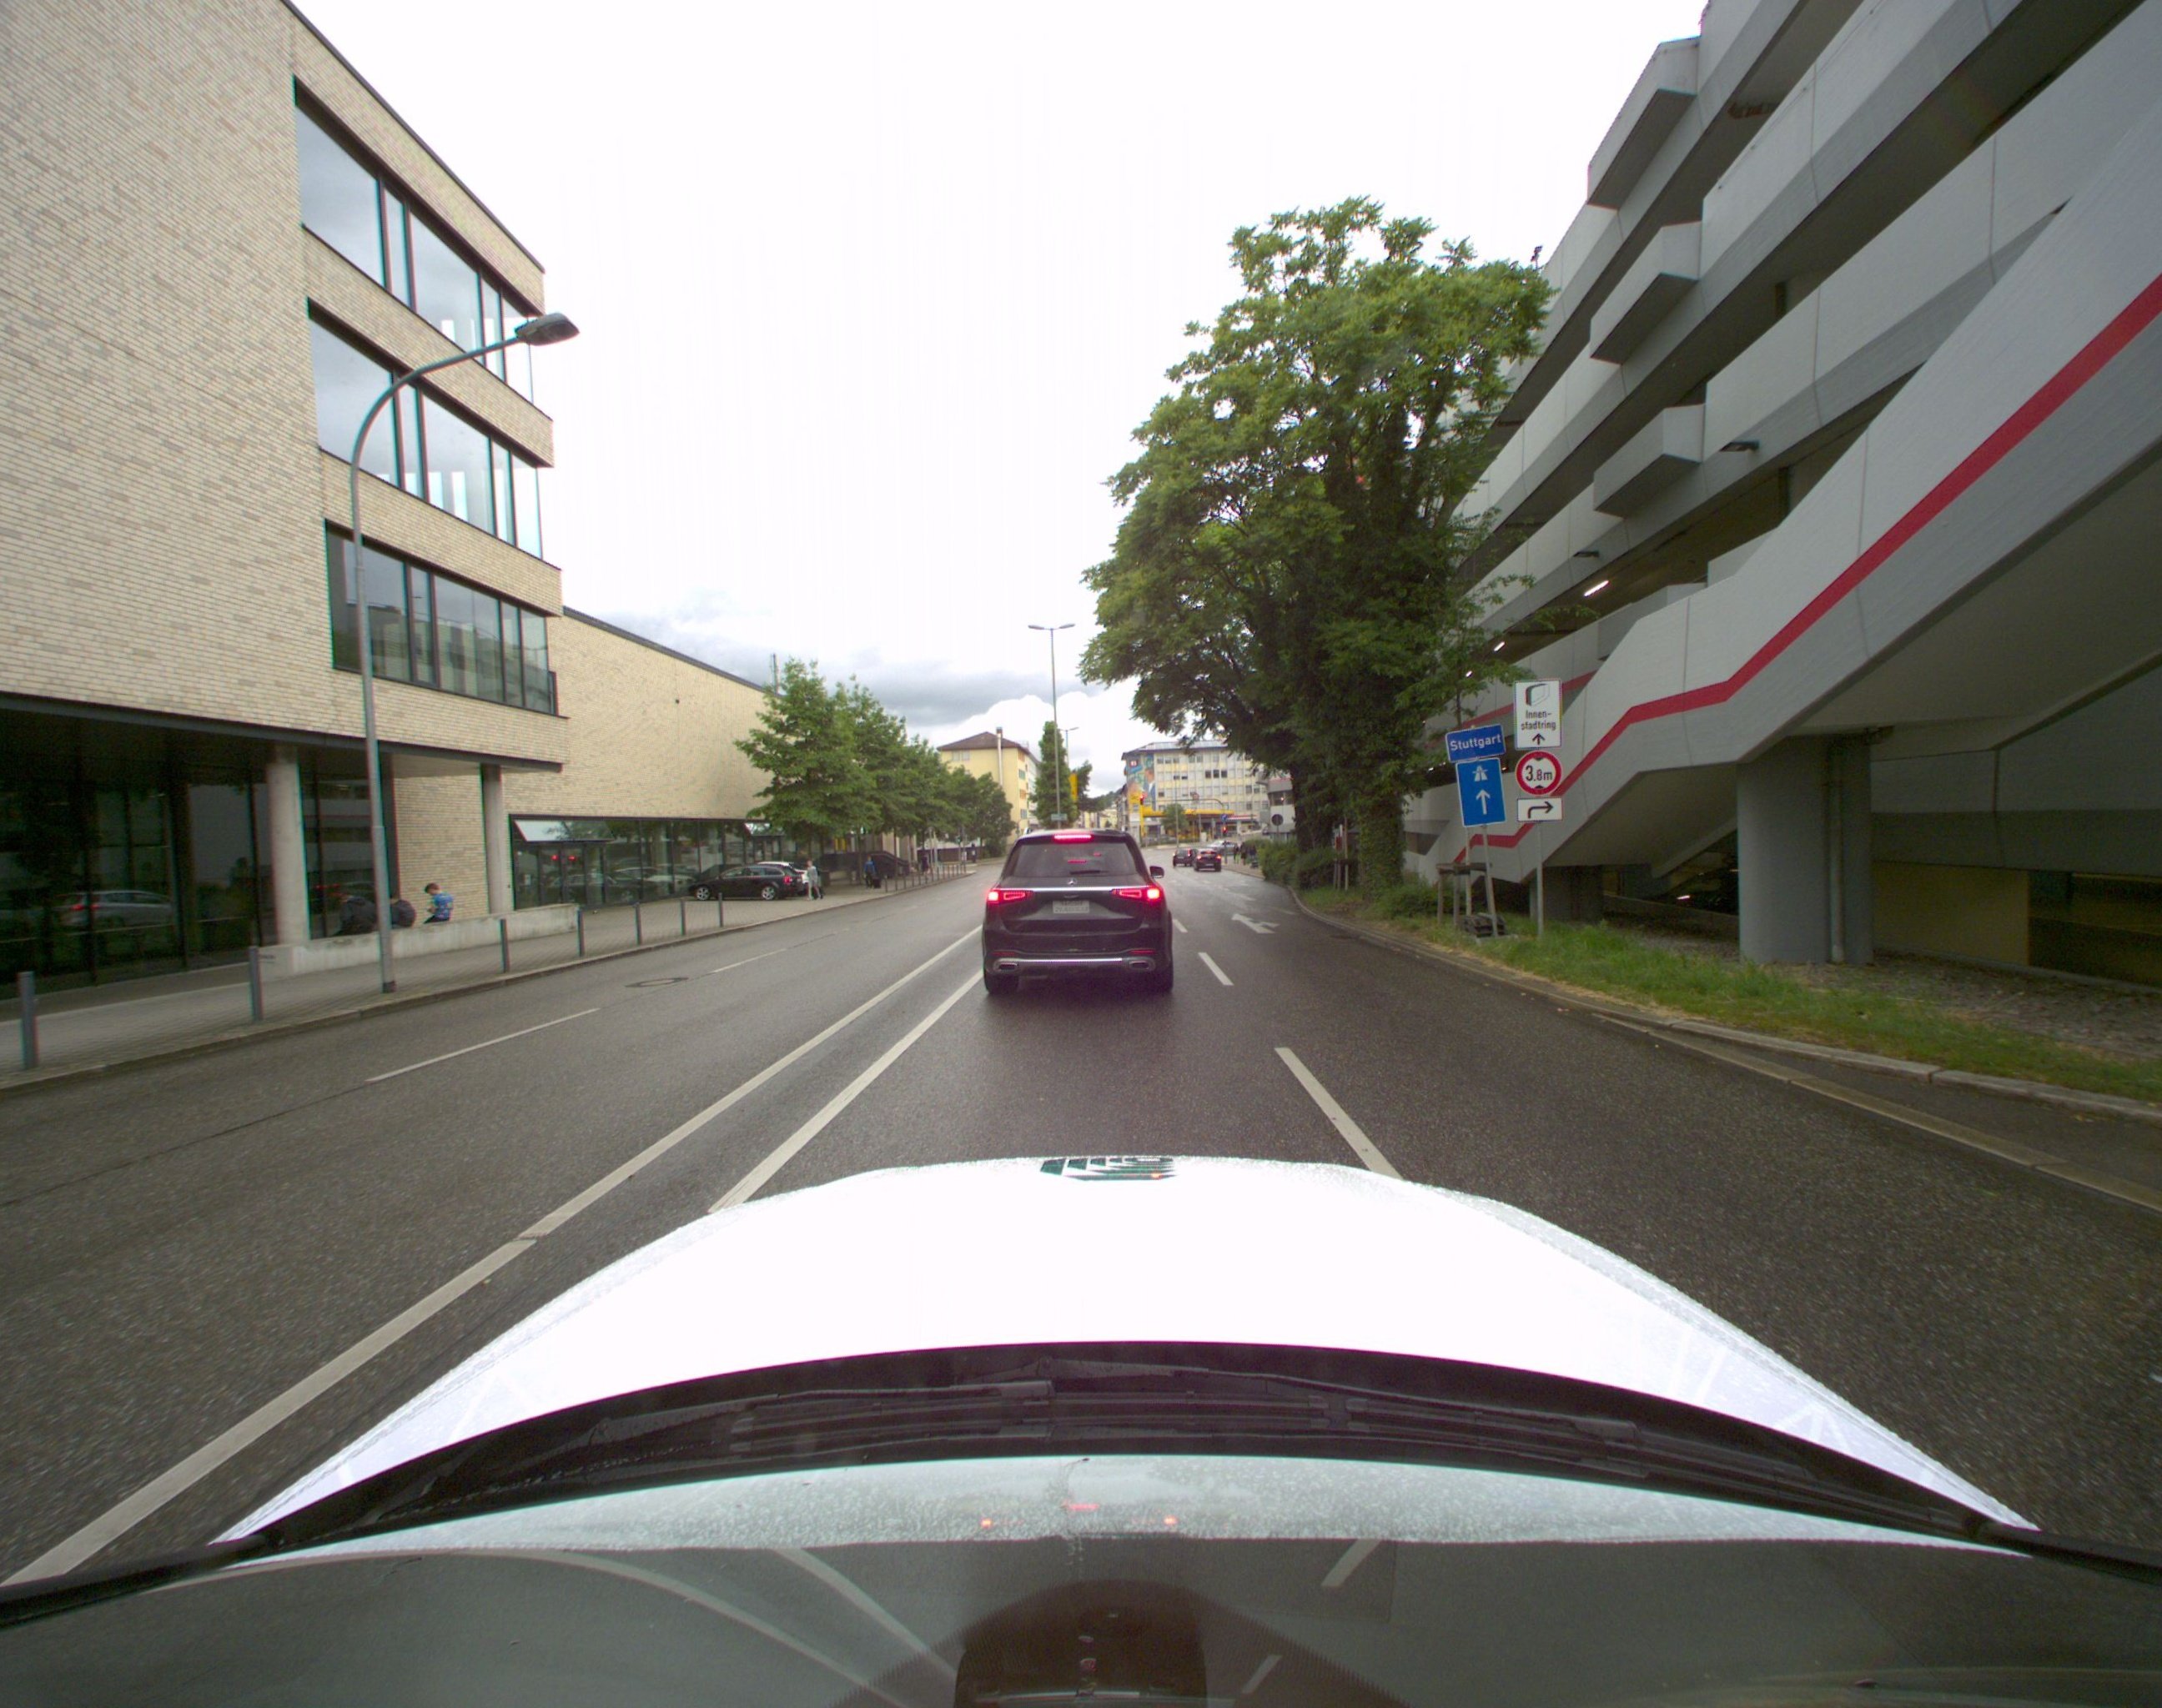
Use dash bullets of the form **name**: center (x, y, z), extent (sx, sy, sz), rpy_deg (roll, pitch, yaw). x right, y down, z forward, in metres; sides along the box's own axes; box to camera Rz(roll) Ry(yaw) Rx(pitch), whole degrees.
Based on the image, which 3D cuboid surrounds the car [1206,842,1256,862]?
- **car**: center (15.998, -0.235, 87.060), extent (4.798, 2.013, 1.996), rpy_deg (-2, 1, -6)

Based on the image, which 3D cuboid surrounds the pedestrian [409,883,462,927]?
- **pedestrian**: center (-13.498, 1.069, 17.045), extent (0.679, 0.886, 0.524), rpy_deg (0, -1, -2)

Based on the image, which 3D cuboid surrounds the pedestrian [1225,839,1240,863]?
- **pedestrian**: center (12.705, -0.224, 68.370), extent (1.022, 2.013, 0.999), rpy_deg (0, 0, 0)

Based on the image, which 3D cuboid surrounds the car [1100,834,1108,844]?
- **car**: center (6.160, -4.052, 220.222), extent (1.987, 2.011, 4.006), rpy_deg (0, 11, 1)

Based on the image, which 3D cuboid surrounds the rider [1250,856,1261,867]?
- **rider**: center (11.762, 0.532, 54.772), extent (0.689, 0.740, 0.634), rpy_deg (0, -1, 9)

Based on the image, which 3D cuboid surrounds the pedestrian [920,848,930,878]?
- **pedestrian**: center (-10.496, 0.590, 54.810), extent (0.586, 2.014, 0.749), rpy_deg (0, -1, 0)

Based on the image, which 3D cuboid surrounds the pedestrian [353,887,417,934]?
- **pedestrian**: center (-13.437, 1.085, 15.742), extent (0.584, 0.845, 0.728), rpy_deg (-1, -1, 2)

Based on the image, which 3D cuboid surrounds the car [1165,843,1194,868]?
- **car**: center (8.055, 0.137, 66.935), extent (1.986, 2.014, 4.002), rpy_deg (0, -1, 2)

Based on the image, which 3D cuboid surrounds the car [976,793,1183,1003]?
- **car**: center (0.012, 0.442, 9.862), extent (1.987, 2.014, 4.000), rpy_deg (0, -1, 1)

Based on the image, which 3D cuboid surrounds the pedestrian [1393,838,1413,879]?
- **pedestrian**: center (11.861, 0.176, 29.995), extent (0.579, 1.501, 0.505), rpy_deg (0, -1, 6)

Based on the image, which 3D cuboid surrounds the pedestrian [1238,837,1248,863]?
- **pedestrian**: center (12.428, -0.295, 62.528), extent (0.617, 1.935, 0.610), rpy_deg (0, -1, 2)

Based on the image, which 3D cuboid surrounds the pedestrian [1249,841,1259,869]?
- **pedestrian**: center (11.816, 0.090, 55.497), extent (0.658, 1.917, 0.731), rpy_deg (0, -1, 11)

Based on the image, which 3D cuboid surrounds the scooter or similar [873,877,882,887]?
- **scooter or similar**: center (-11.012, 1.517, 44.146), extent (0.358, 0.536, 0.499), rpy_deg (0, -2, 1)

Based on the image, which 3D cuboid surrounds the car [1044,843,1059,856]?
- **car**: center (-4.463, -0.727, 123.645), extent (1.987, 1.875, 5.141), rpy_deg (0, -1, 0)

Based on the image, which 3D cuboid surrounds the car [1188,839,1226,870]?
- **car**: center (8.618, -0.001, 55.978), extent (1.987, 2.013, 4.000), rpy_deg (-1, 0, 0)

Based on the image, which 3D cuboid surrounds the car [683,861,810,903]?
- **car**: center (-13.916, 1.144, 34.118), extent (4.460, 1.587, 1.997), rpy_deg (-1, 0, -5)

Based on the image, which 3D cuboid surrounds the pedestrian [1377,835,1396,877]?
- **pedestrian**: center (11.287, 0.089, 30.064), extent (0.548, 1.532, 0.489), rpy_deg (0, -1, 8)

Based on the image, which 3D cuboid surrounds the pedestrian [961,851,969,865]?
- **pedestrian**: center (-12.358, 0.415, 86.729), extent (0.709, 1.462, 0.598), rpy_deg (0, -1, 0)

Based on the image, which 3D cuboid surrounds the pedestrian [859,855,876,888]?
- **pedestrian**: center (-11.322, 0.919, 43.194), extent (0.686, 1.726, 0.754), rpy_deg (0, -3, 0)

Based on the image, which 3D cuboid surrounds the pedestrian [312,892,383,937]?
- **pedestrian**: center (-13.434, 1.101, 14.930), extent (0.595, 0.786, 0.760), rpy_deg (0, -1, 2)

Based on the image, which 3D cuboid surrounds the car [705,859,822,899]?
- **car**: center (-14.040, 1.080, 36.229), extent (4.408, 1.573, 1.997), rpy_deg (-1, 2, -4)

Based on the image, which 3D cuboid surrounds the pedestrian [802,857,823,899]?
- **pedestrian**: center (-11.027, 0.973, 33.465), extent (0.673, 1.697, 0.479), rpy_deg (0, -1, 1)

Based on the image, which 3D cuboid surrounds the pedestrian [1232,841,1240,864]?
- **pedestrian**: center (12.808, -0.147, 67.390), extent (0.518, 1.911, 0.556), rpy_deg (0, -1, 2)

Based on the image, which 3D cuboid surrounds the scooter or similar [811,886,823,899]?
- **scooter or similar**: center (-10.967, 1.607, 33.859), extent (0.279, 0.501, 0.616), rpy_deg (0, -1, 1)

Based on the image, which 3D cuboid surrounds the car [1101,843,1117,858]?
- **car**: center (3.721, -0.495, 110.276), extent (1.987, 2.014, 3.998), rpy_deg (0, -1, -1)
